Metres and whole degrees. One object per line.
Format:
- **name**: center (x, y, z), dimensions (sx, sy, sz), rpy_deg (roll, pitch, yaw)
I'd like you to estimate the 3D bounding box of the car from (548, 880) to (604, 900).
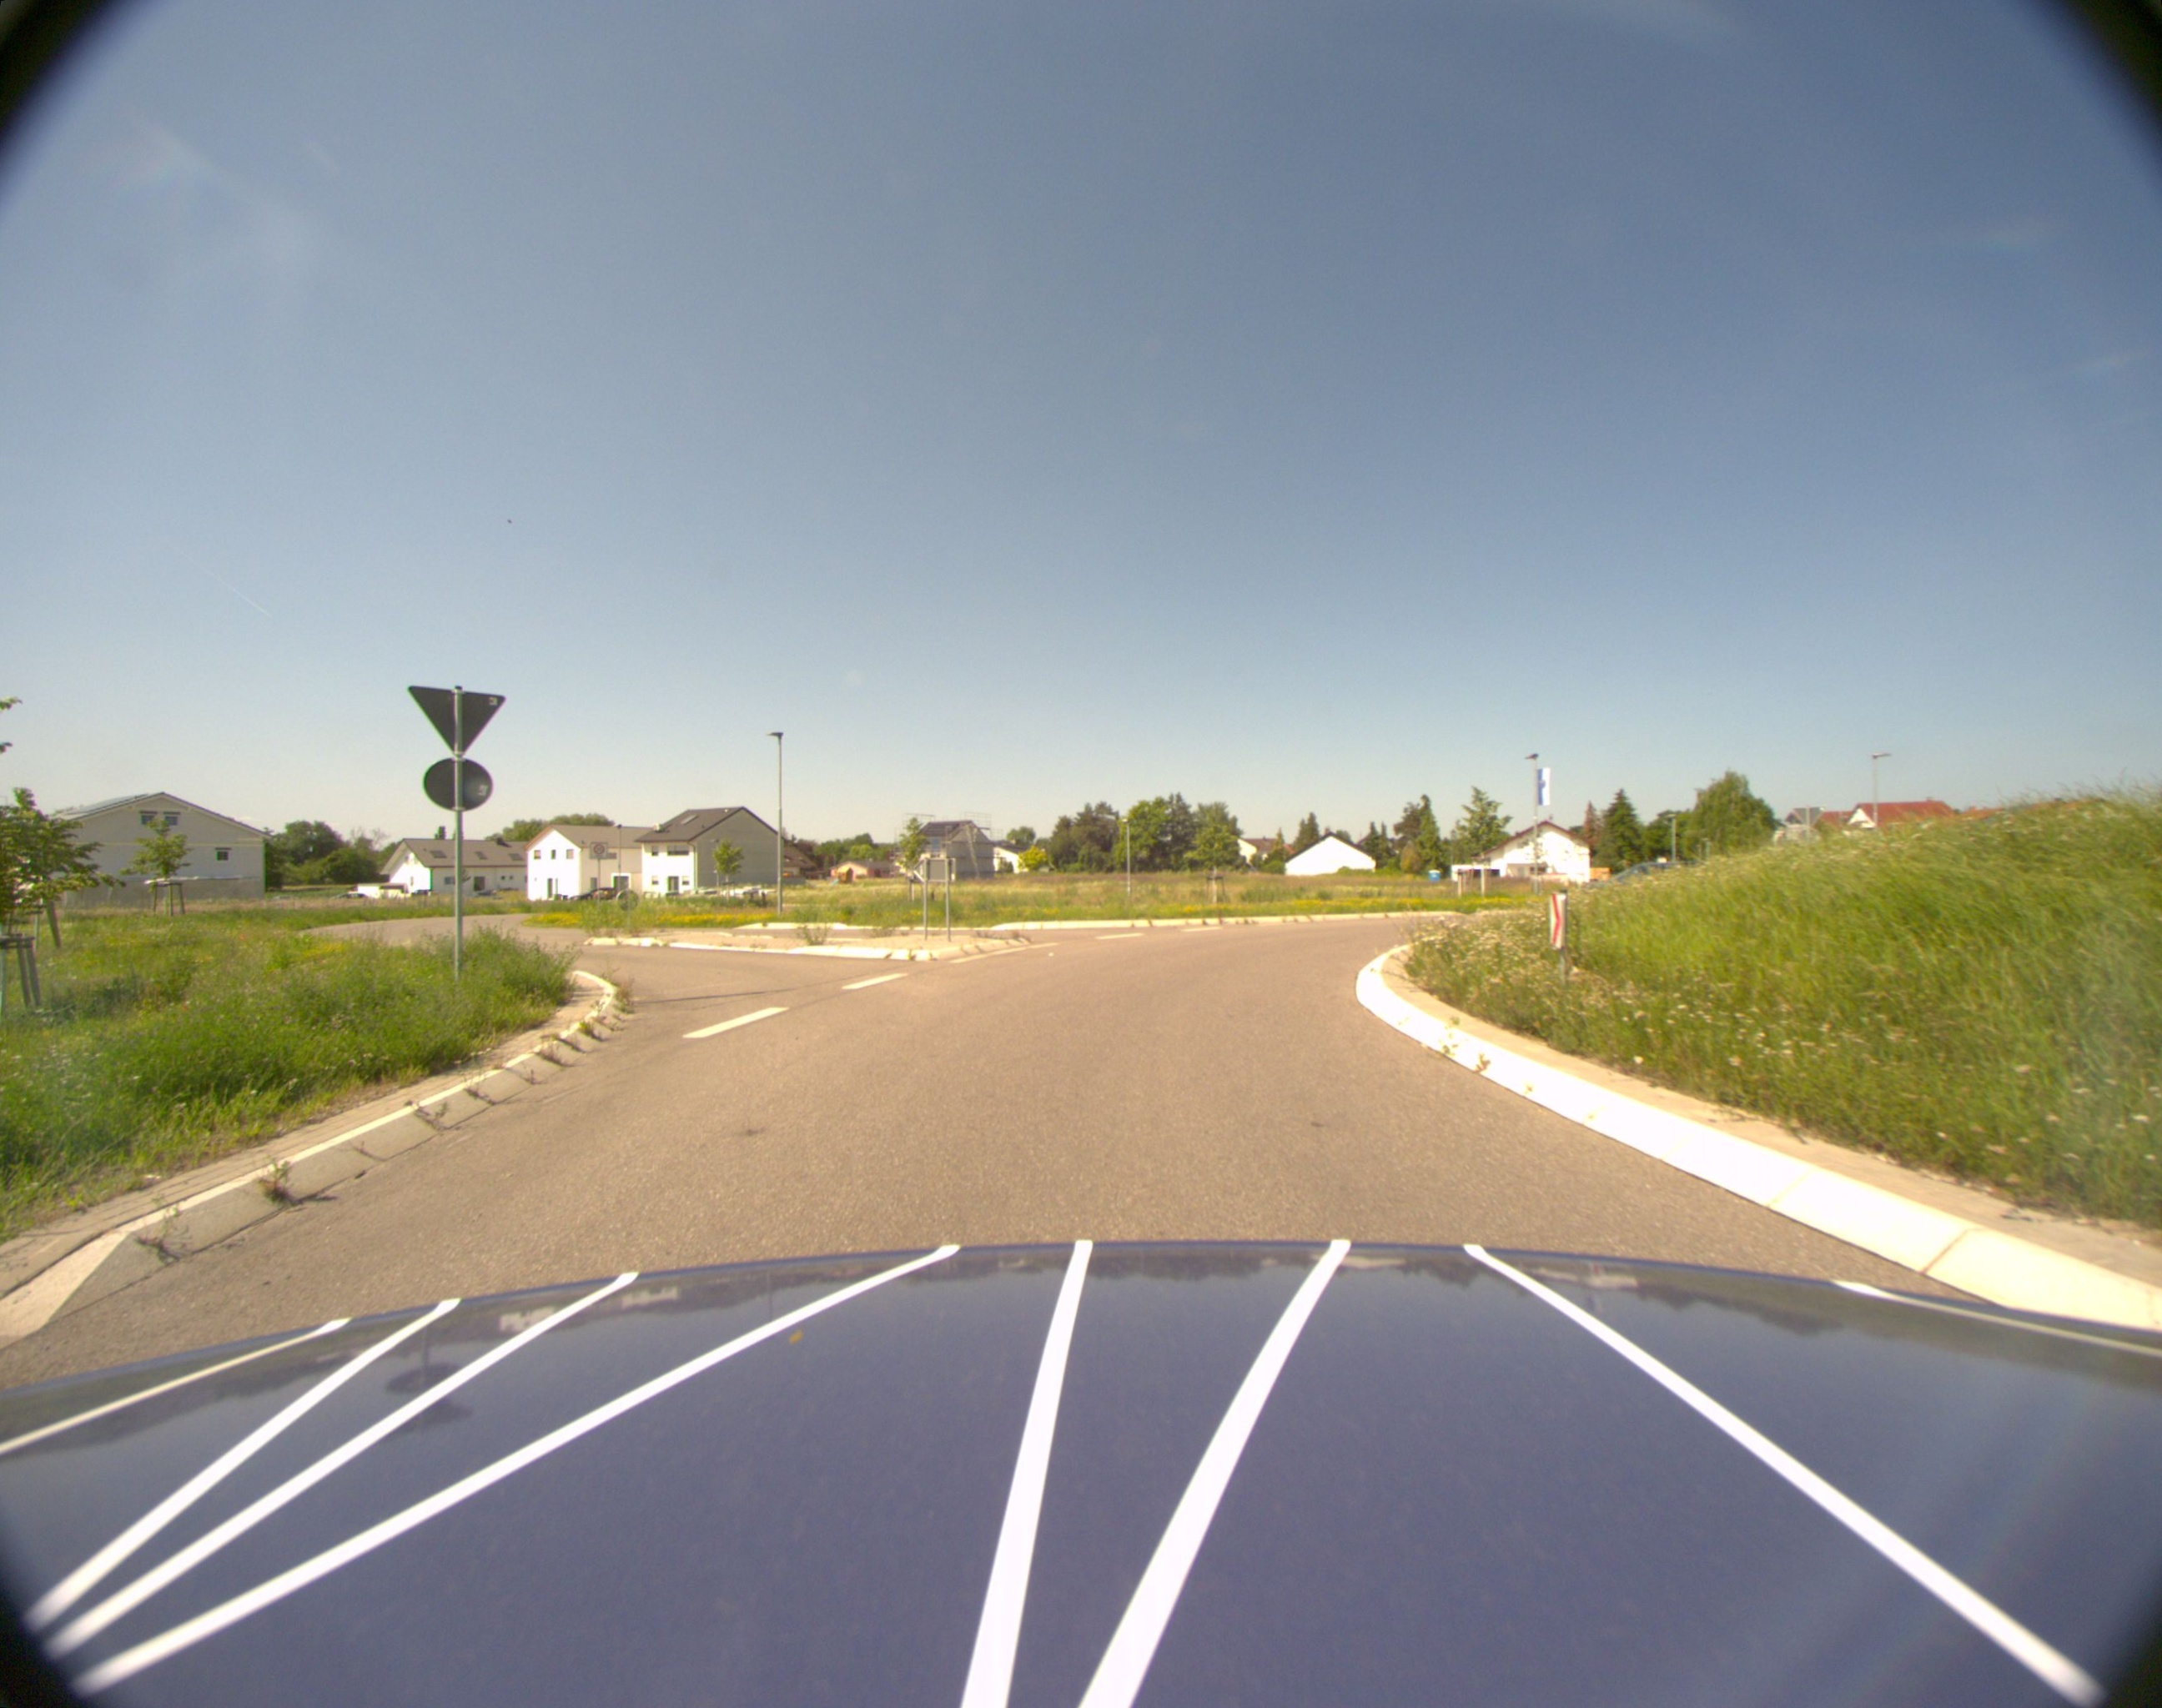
- **car**: center (-48.230, 3.421, 72.649), dimensions (1.995, 1.783, 4.008), rpy_deg (-2, -1, 29)
